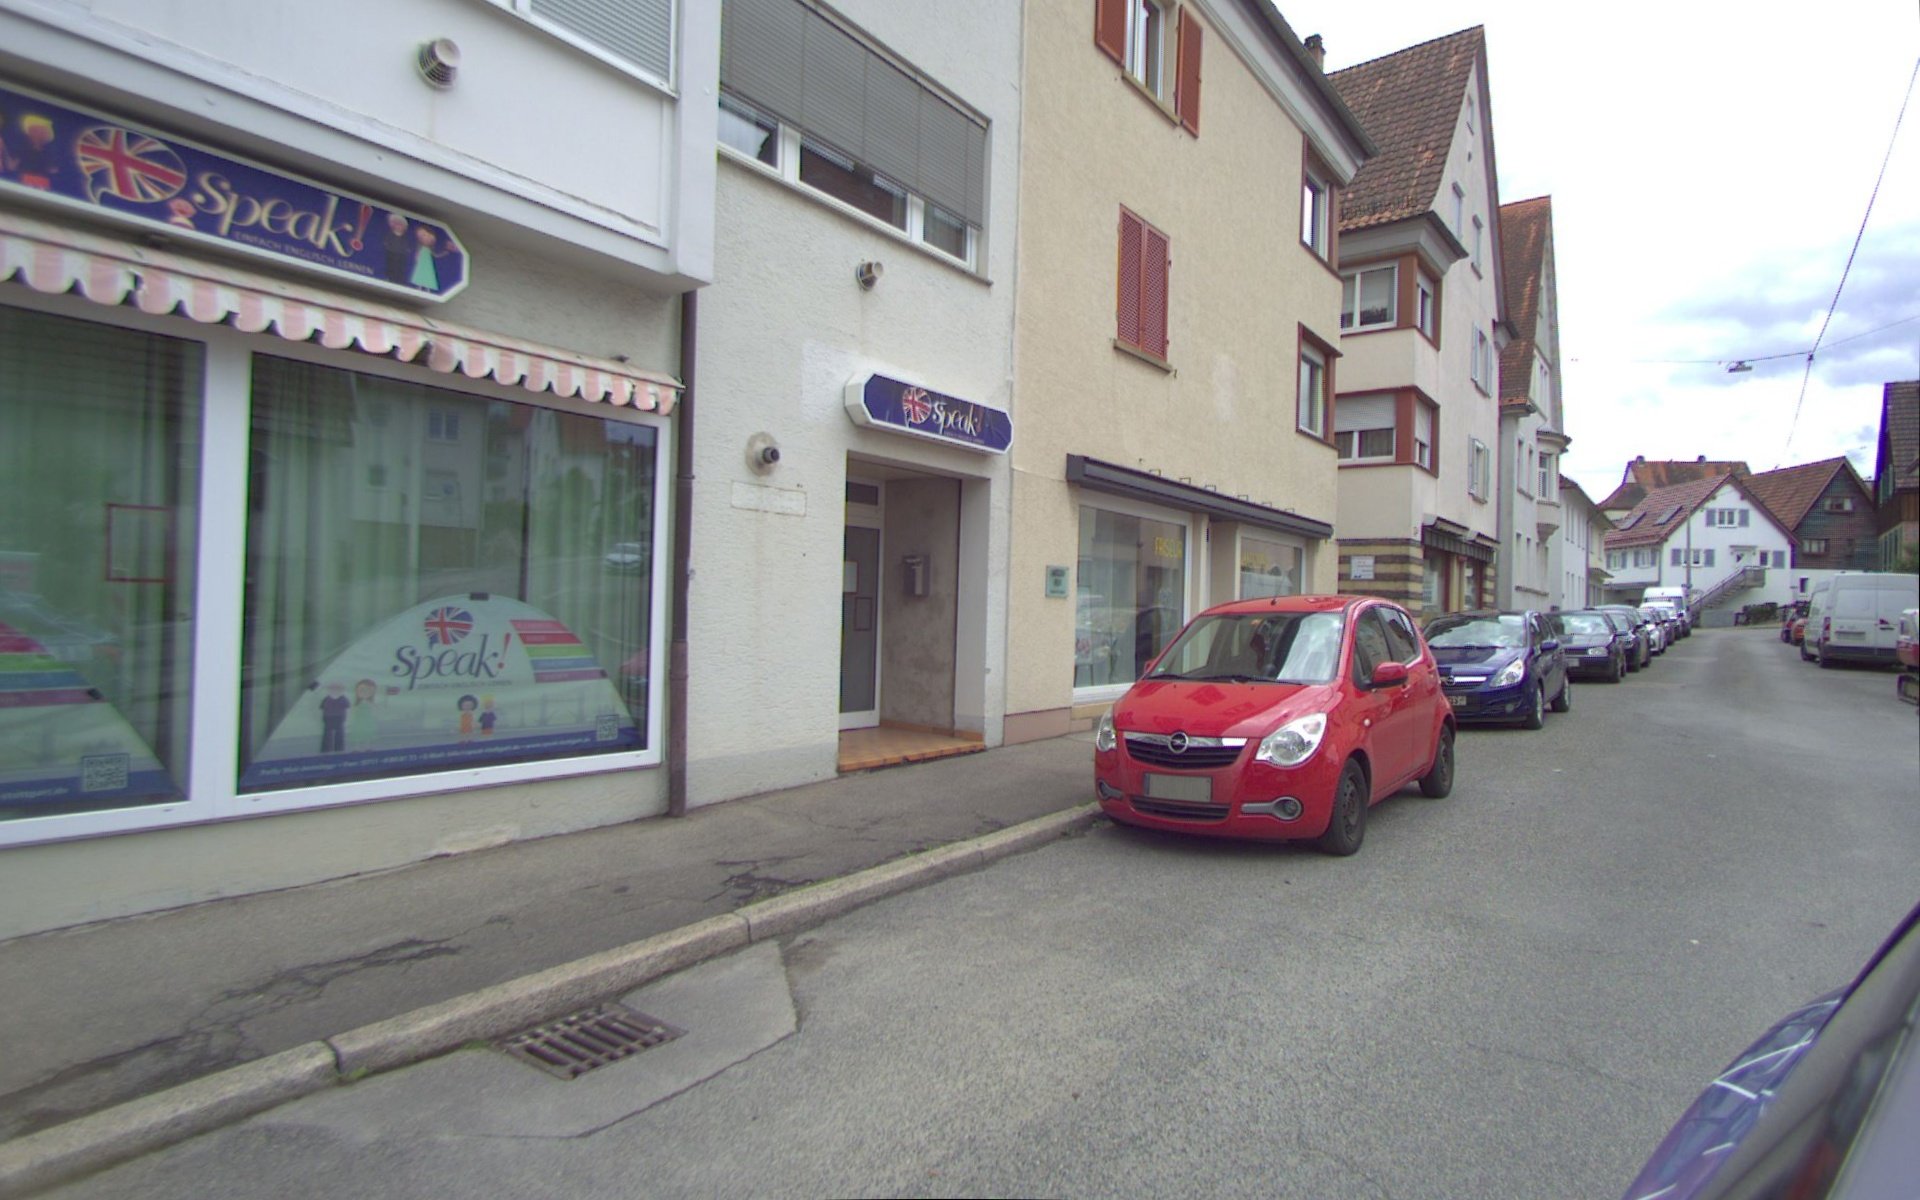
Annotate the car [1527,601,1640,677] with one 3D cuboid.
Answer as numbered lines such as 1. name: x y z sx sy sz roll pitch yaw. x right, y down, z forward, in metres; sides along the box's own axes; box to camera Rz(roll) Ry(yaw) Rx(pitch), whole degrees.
1. car: 13.050 0.754 21.085 1.686 1.421 3.949 -2 -1 36

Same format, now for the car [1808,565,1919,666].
1. car: 24.595 0.358 27.422 1.989 2.417 6.534 2 1 36

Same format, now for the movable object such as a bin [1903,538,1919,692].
1. movable object such as a bin: 15.758 0.262 15.230 1.562 2.531 4.615 2 1 35

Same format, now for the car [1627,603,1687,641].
1. car: 28.314 0.870 41.083 1.688 1.408 3.661 -3 -2 39

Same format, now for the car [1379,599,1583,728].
1. car: 7.094 0.759 13.592 1.688 1.469 3.866 -4 -2 38

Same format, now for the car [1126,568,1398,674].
1. car: 6.015 0.481 20.516 4.876 1.890 1.925 -4 -3 39

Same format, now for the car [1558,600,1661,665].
1. car: 16.139 0.765 25.074 1.688 1.469 4.046 -3 -2 38

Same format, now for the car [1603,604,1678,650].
1. car: 22.336 0.859 33.154 1.688 1.408 3.748 -3 -2 38

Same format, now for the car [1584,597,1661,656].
1. car: 19.014 0.734 29.099 1.685 1.539 4.055 -3 -2 33

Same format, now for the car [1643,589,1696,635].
1. car: 33.631 0.550 47.923 1.688 2.030 4.035 -3 -2 39

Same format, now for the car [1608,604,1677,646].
1. car: 24.834 0.874 36.777 1.688 1.408 3.661 -3 -2 39

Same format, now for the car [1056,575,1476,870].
1. car: 2.418 0.677 7.390 1.688 1.576 3.643 -2 -1 39

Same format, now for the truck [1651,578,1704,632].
1. truck: 36.981 0.249 52.127 1.817 2.629 4.713 -3 -2 39
